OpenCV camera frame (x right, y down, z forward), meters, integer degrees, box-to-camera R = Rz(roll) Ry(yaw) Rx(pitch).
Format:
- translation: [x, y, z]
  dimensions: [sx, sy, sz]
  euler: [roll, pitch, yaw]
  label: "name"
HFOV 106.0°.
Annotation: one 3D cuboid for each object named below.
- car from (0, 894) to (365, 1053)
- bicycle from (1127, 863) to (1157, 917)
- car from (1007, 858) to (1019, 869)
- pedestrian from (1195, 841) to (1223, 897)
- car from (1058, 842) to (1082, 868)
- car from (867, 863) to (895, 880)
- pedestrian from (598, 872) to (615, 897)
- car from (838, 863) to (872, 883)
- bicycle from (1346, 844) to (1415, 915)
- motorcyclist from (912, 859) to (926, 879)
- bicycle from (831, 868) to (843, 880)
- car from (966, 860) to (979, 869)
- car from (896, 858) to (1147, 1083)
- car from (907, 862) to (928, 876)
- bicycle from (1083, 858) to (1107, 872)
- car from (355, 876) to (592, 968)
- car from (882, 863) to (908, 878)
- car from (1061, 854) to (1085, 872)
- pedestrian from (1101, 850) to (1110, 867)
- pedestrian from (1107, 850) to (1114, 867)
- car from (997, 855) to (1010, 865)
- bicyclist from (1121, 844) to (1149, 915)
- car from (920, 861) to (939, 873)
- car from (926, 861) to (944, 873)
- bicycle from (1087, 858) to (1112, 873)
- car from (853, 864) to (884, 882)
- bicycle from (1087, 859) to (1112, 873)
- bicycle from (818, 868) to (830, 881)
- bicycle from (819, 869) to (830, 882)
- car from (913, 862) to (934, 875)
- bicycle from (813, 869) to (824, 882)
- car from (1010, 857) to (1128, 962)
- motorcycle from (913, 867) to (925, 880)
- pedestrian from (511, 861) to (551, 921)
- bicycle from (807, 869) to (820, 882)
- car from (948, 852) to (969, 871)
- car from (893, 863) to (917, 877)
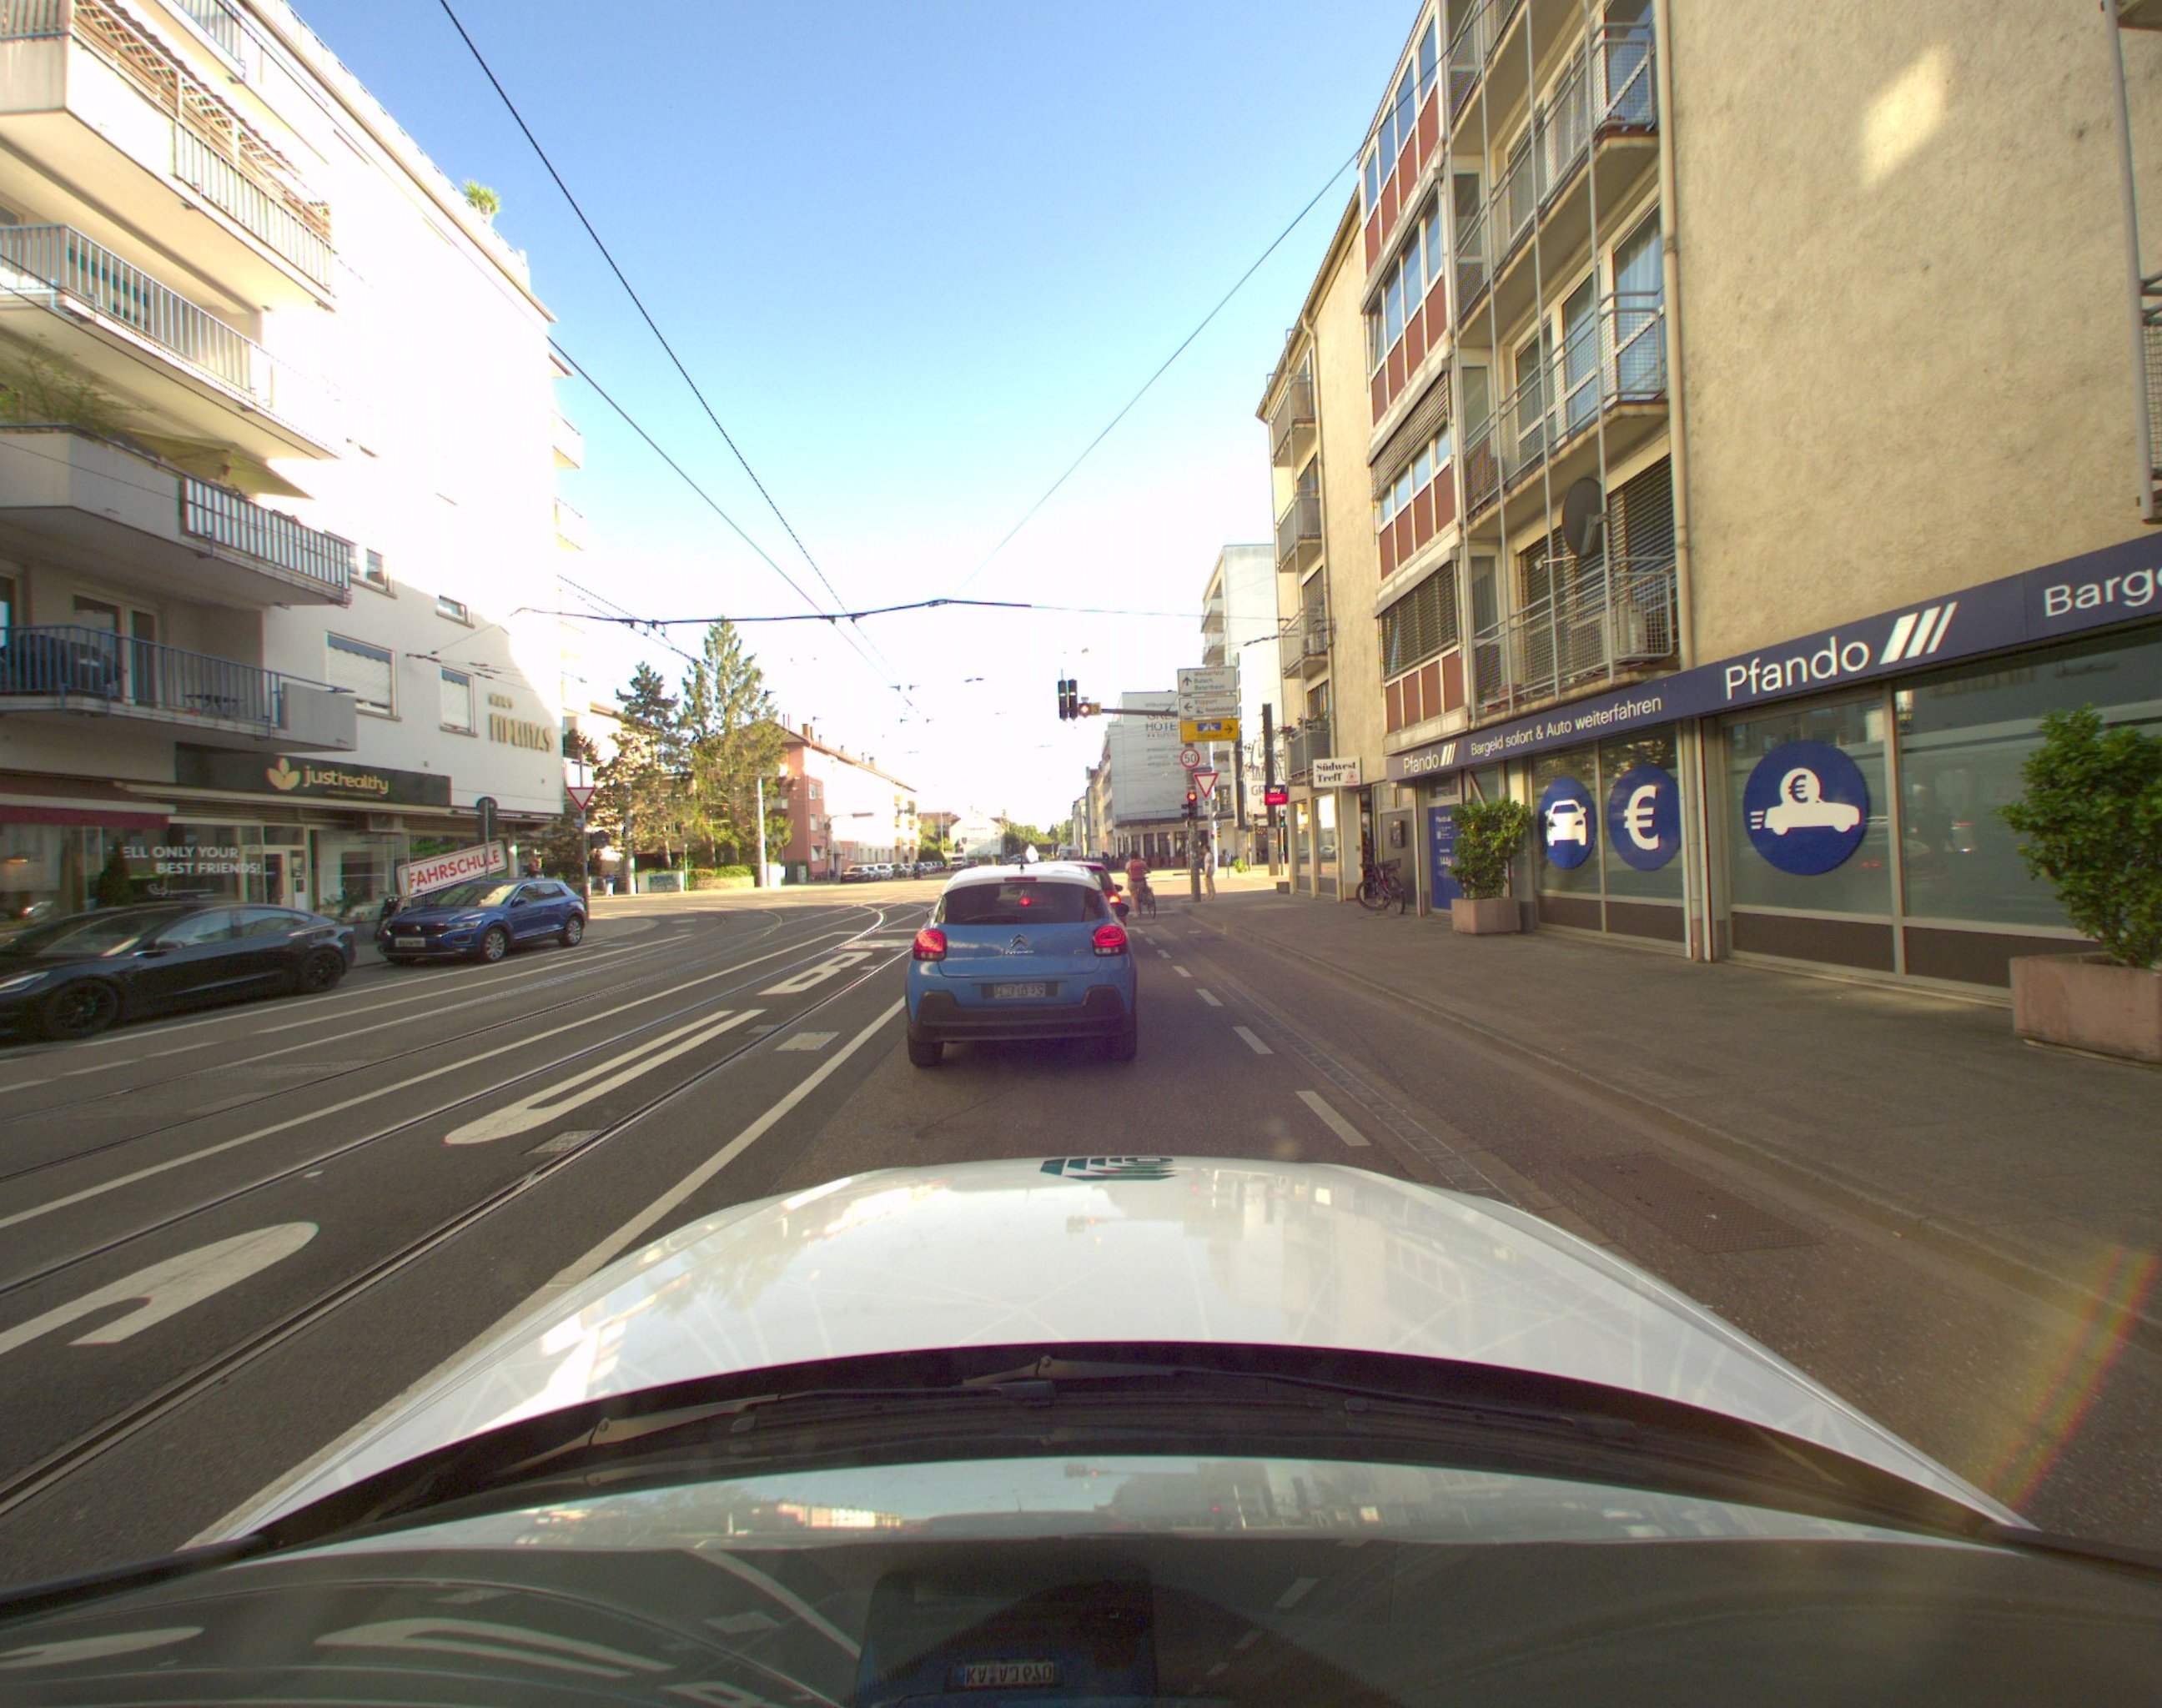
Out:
- translation: [-11.982, 1.331, 10.435]
  dimensions: [1.720, 1.403, 4.486]
  euler: [0, 0, -2]
  label: "car"
- translation: [1.534, 0.885, 20.740]
  dimensions: [0.611, 1.264, 1.911]
  euler: [-2, 0, 2]
  label: "bicycle"
- translation: [-14.269, 1.973, 171.423]
  dimensions: [2.333, 2.039, 5.044]
  euler: [-2, 0, -4]
  label: "car"
- translation: [3.840, 0.451, 24.428]
  dimensions: [0.747, 1.635, 0.742]
  euler: [-2, 0, 7]
  label: "pedestrian"
- translation: [-1.039, 0.083, 73.460]
  dimensions: [2.074, 2.269, 5.647]
  euler: [-1, 0, -2]
  label: "car"
- translation: [-19.560, 1.682, 79.868]
  dimensions: [1.947, 1.519, 3.995]
  euler: [-2, 0, -4]
  label: "car"
- translation: [-32.504, 2.079, 55.809]
  dimensions: [0.810, 1.702, 0.677]
  euler: [-2, 0, -15]
  label: "pedestrian"
- translation: [-19.290, 1.599, 69.632]
  dimensions: [1.947, 1.519, 3.995]
  euler: [-2, 0, -4]
  label: "car"
- translation: [5.760, 0.455, 15.753]
  dimensions: [0.637, 1.264, 1.911]
  euler: [-2, 0, 2]
  label: "bicycle"
- translation: [-13.474, 1.267, 67.706]
  dimensions: [0.990, 1.631, 0.737]
  euler: [-2, 0, -7]
  label: "motorcyclist"
- translation: [-22.717, 1.859, 75.815]
  dimensions: [0.608, 1.082, 1.908]
  euler: [-2, 0, -4]
  label: "bicycle"
- translation: [-19.340, 1.812, 145.257]
  dimensions: [1.947, 1.519, 3.995]
  euler: [-2, 0, -4]
  label: "car"
- translation: [-0.450, 0.790, 7.512]
  dimensions: [1.675, 1.462, 3.997]
  euler: [-1, 0, -2]
  label: "car"
- translation: [-19.853, 1.783, 99.037]
  dimensions: [1.947, 1.519, 3.995]
  euler: [-2, 0, -4]
  label: "car"
- translation: [1.160, 0.950, 68.457]
  dimensions: [1.901, 1.064, 0.641]
  euler: [-2, 0, -6]
  label: "bicycle"
- translation: [-11.877, 1.244, 16.338]
  dimensions: [1.720, 1.505, 4.113]
  euler: [0, 0, -2]
  label: "car"
- translation: [-19.730, 1.737, 86.541]
  dimensions: [1.947, 1.519, 3.995]
  euler: [-2, 0, -4]
  label: "car"
- translation: [-0.716, 0.739, 67.999]
  dimensions: [1.783, 1.359, 3.909]
  euler: [-2, 0, -4]
  label: "car"
- translation: [2.103, 0.392, 70.392]
  dimensions: [0.520, 1.420, 0.550]
  euler: [-3, 0, 22]
  label: "pedestrian"
- translation: [2.523, 0.376, 70.131]
  dimensions: [0.467, 1.420, 0.524]
  euler: [-2, 0, -11]
  label: "pedestrian"
- translation: [-12.964, 0.964, 135.856]
  dimensions: [2.002, 1.627, 5.044]
  euler: [-2, 0, -5]
  label: "car"
- translation: [1.370, 0.631, 20.706]
  dimensions: [0.598, 1.746, 1.084]
  euler: [-2, 0, 2]
  label: "bicyclist"
- translation: [-20.299, 1.770, 109.340]
  dimensions: [1.947, 1.519, 3.995]
  euler: [-2, 0, -4]
  label: "car"
- translation: [-20.727, 1.849, 115.696]
  dimensions: [1.947, 1.519, 3.995]
  euler: [-2, 0, -4]
  label: "car"
- translation: [1.516, 0.927, 65.948]
  dimensions: [1.901, 1.064, 0.641]
  euler: [-2, 0, -6]
  label: "bicycle"
- translation: [-19.571, 1.716, 75.256]
  dimensions: [1.947, 1.519, 4.040]
  euler: [-2, 0, -4]
  label: "car"
- translation: [1.525, 0.957, 67.255]
  dimensions: [1.901, 1.064, 0.641]
  euler: [-2, 0, -6]
  label: "bicycle"
- translation: [-23.050, 1.841, 73.119]
  dimensions: [0.536, 1.082, 1.908]
  euler: [-2, 0, -4]
  label: "bicycle"
- translation: [-21.596, 1.792, 68.484]
  dimensions: [0.537, 1.082, 1.905]
  euler: [-2, 0, -9]
  label: "bicycle"
- translation: [-20.098, 1.797, 104.051]
  dimensions: [1.947, 1.519, 3.995]
  euler: [-2, 0, -4]
  label: "car"
- translation: [-21.974, 1.793, 68.199]
  dimensions: [0.537, 1.082, 1.905]
  euler: [-2, 0, -9]
  label: "bicycle"
- translation: [-0.225, 0.809, 13.721]
  dimensions: [1.675, 1.462, 3.997]
  euler: [-1, 0, -2]
  label: "car"
- translation: [-13.484, 1.595, 67.773]
  dimensions: [0.751, 0.976, 2.092]
  euler: [-2, 0, -7]
  label: "motorcycle"
- translation: [-17.286, 1.170, 25.608]
  dimensions: [0.761, 1.834, 0.725]
  euler: [-3, 0, 28]
  label: "pedestrian"
- translation: [-22.380, 1.792, 68.090]
  dimensions: [0.640, 1.082, 1.905]
  euler: [-2, 0, -9]
  label: "bicycle"
- translation: [-18.128, 1.100, 120.588]
  dimensions: [2.489, 2.712, 5.828]
  euler: [-2, 0, -5]
  label: "car"
- translation: [-19.982, 1.788, 92.608]
  dimensions: [1.947, 1.519, 3.995]
  euler: [-2, 0, -4]
  label: "car"
